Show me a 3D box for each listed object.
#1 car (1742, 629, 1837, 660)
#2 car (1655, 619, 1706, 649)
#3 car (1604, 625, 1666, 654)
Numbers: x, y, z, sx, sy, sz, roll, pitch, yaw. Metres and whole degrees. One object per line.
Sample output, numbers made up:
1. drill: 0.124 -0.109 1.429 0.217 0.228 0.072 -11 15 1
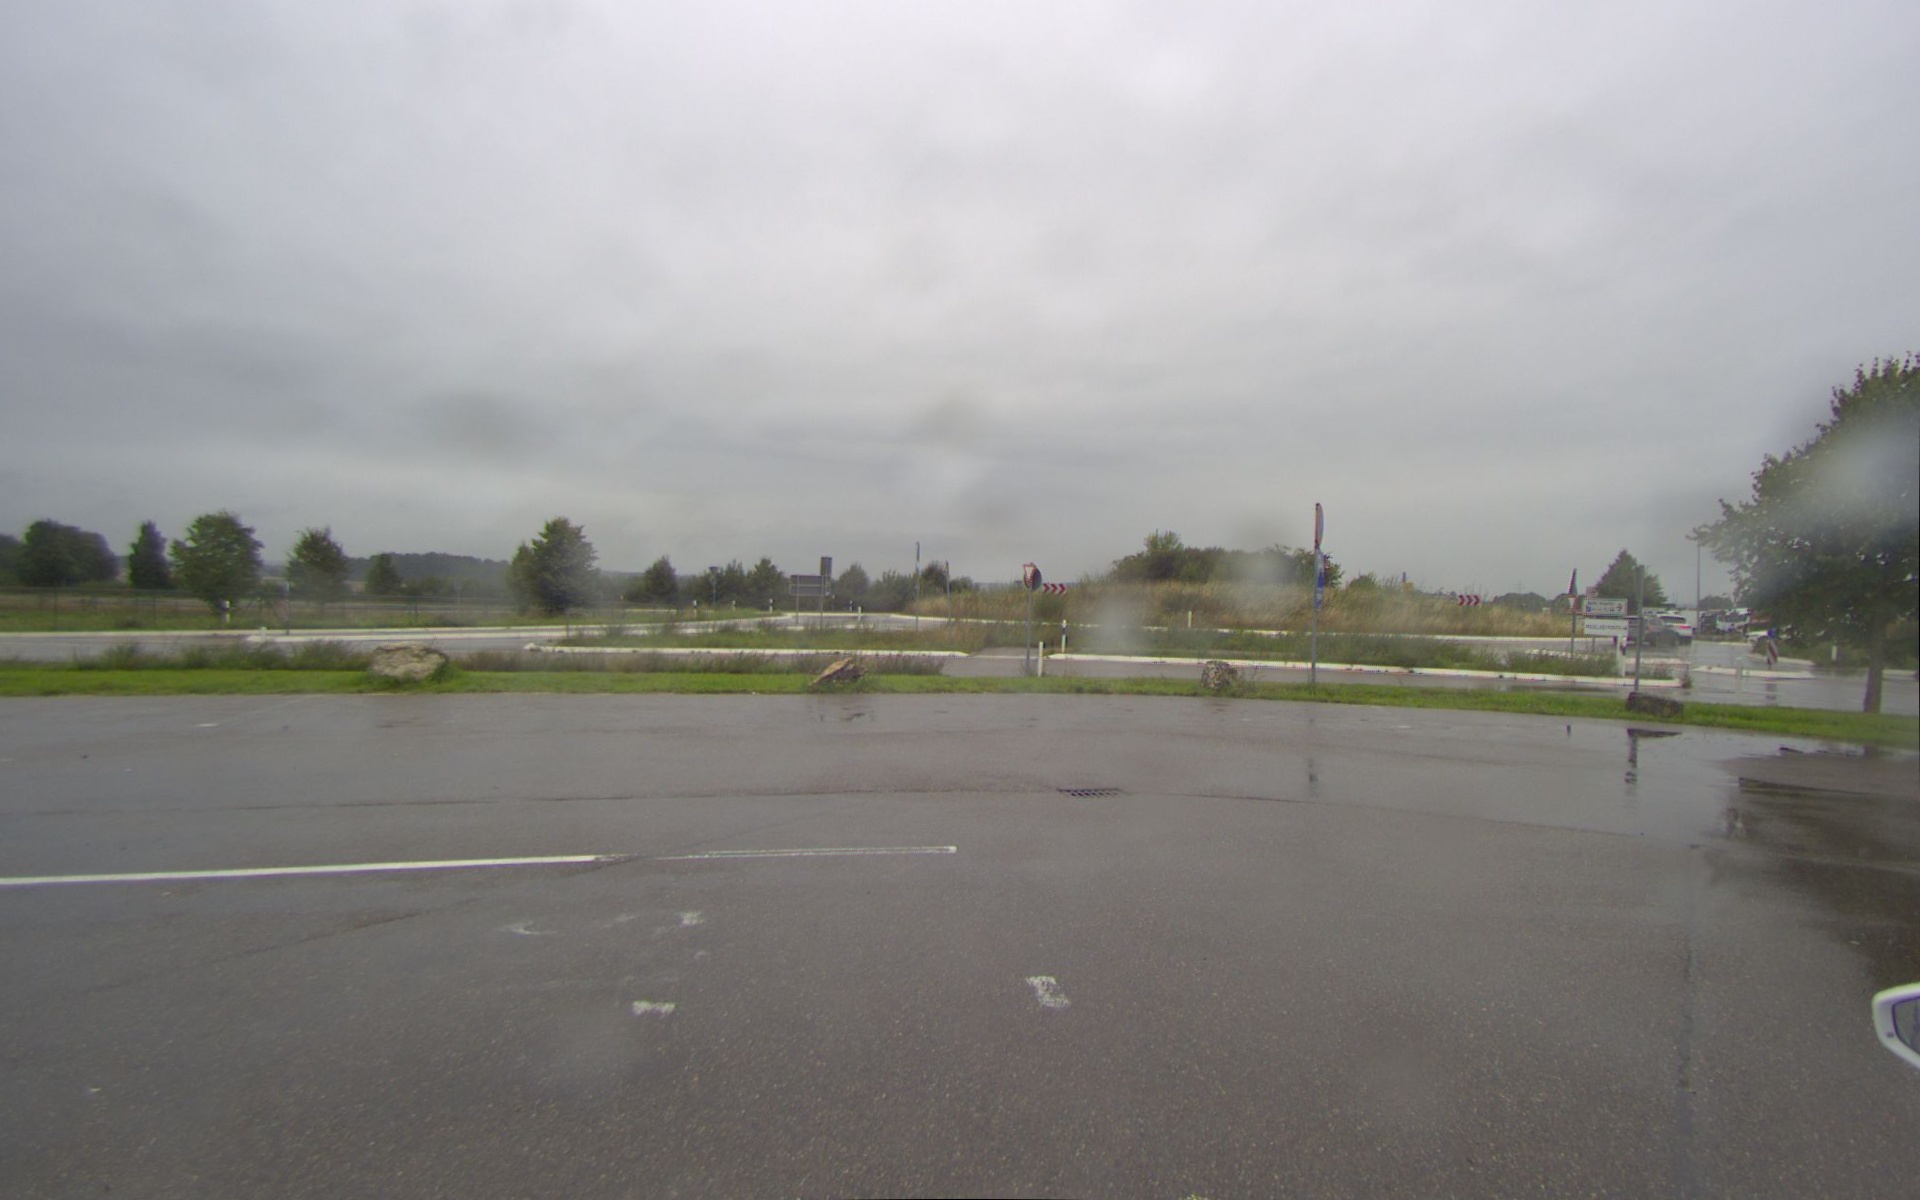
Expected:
1. car: 52.815 2.823 64.029 4.279 1.782 1.749 1 0 17
2. car: 40.730 1.880 56.744 1.671 1.605 4.358 1 0 45
3. car: 33.735 1.961 50.163 4.013 1.343 1.673 1 0 -42
